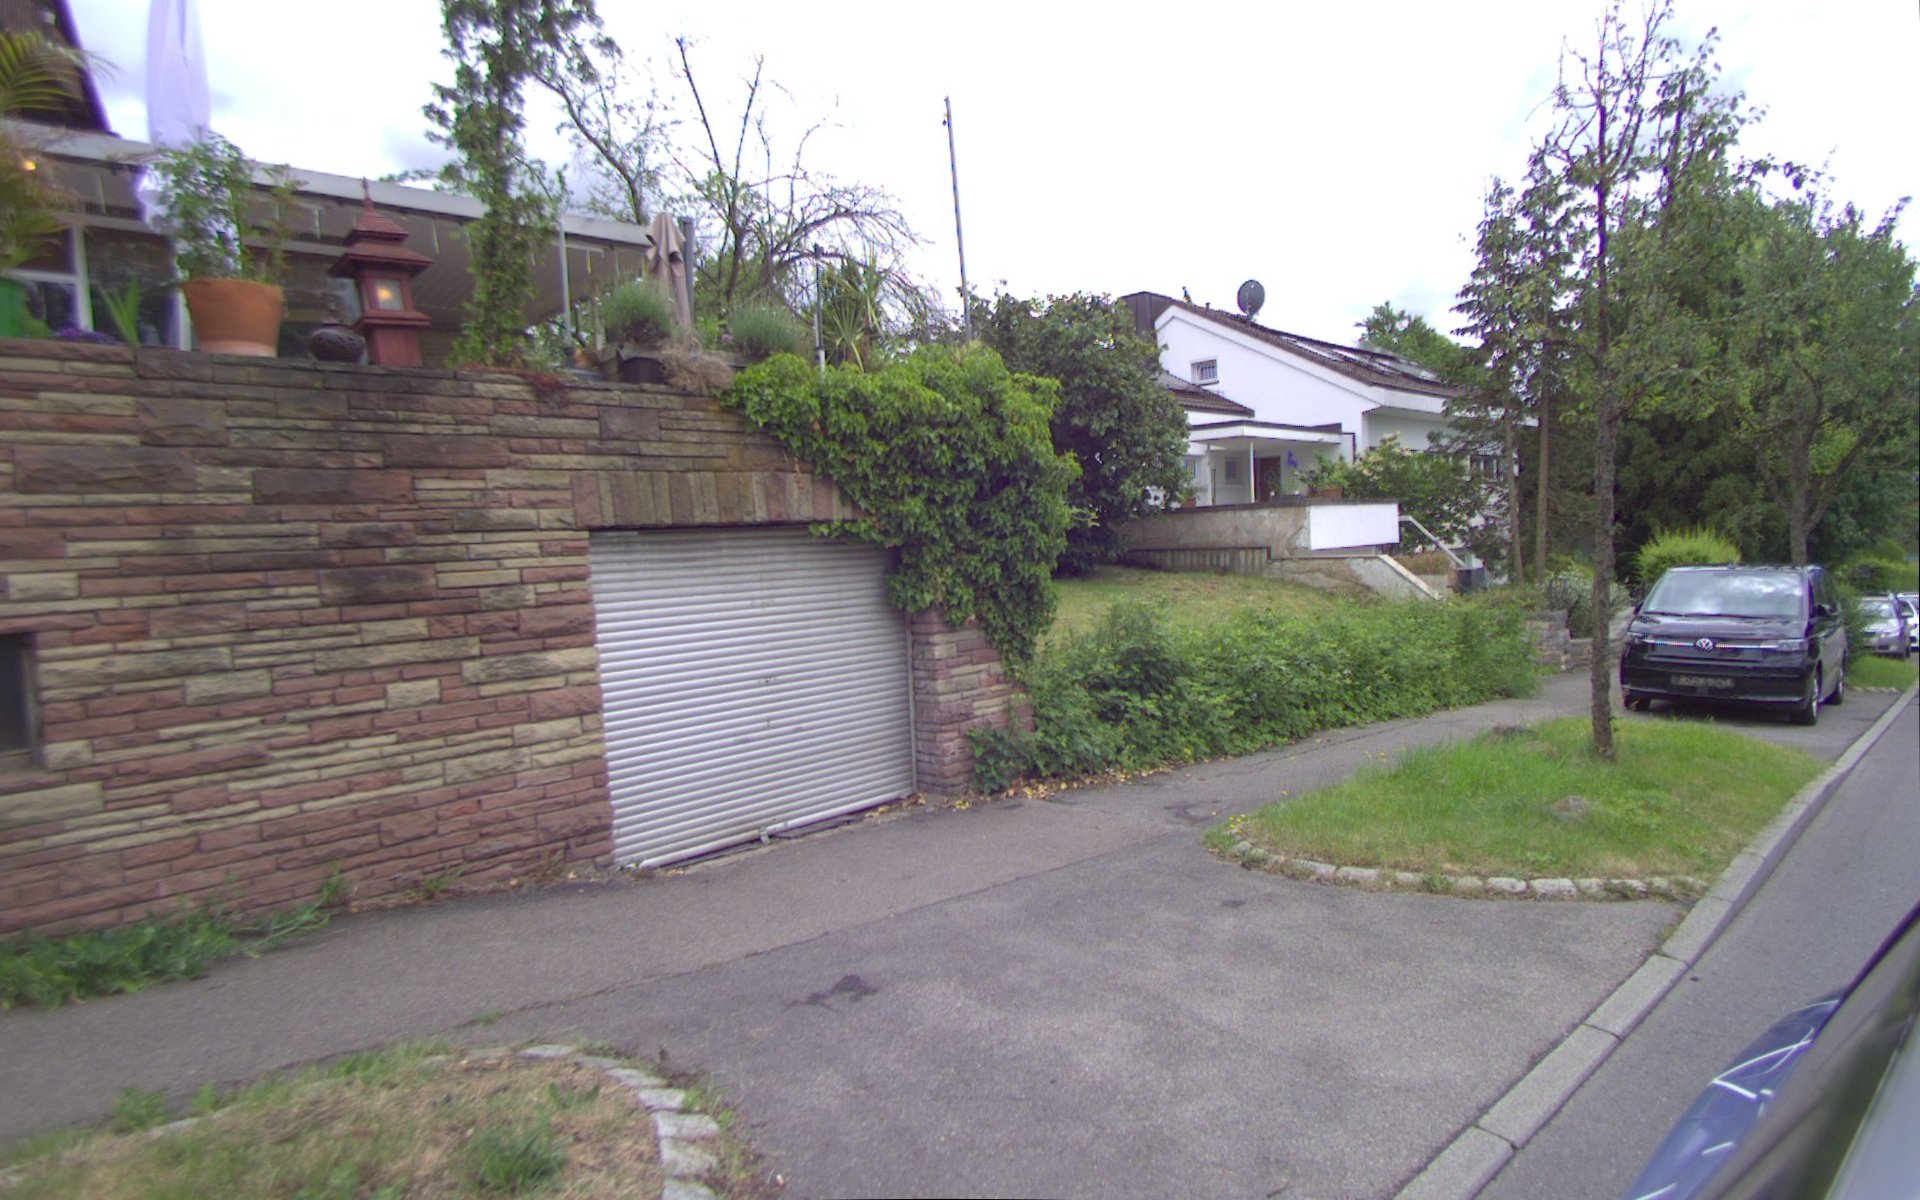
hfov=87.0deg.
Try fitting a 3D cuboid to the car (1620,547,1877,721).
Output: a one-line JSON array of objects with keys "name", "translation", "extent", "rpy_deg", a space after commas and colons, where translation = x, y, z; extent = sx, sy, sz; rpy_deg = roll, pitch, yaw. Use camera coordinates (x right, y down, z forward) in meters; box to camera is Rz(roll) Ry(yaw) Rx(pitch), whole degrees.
[{"name": "car", "translation": [10.463, 0.317, 13.257], "extent": [5.132, 1.860, 1.938], "rpy_deg": [-1, 2, -44]}]

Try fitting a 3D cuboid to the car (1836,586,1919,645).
[{"name": "car", "translation": [26.480, 0.395, 28.681], "extent": [4.920, 1.510, 1.996], "rpy_deg": [0, 2, -43]}]

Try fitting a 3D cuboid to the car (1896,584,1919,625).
[{"name": "car", "translation": [40.915, 0.194, 42.659], "extent": [1.999, 1.628, 4.687], "rpy_deg": [2, 2, 41]}]

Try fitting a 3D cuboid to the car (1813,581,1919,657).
[{"name": "car", "translation": [21.586, 0.402, 23.952], "extent": [3.864, 1.653, 1.718], "rpy_deg": [-1, 0, -44]}]
